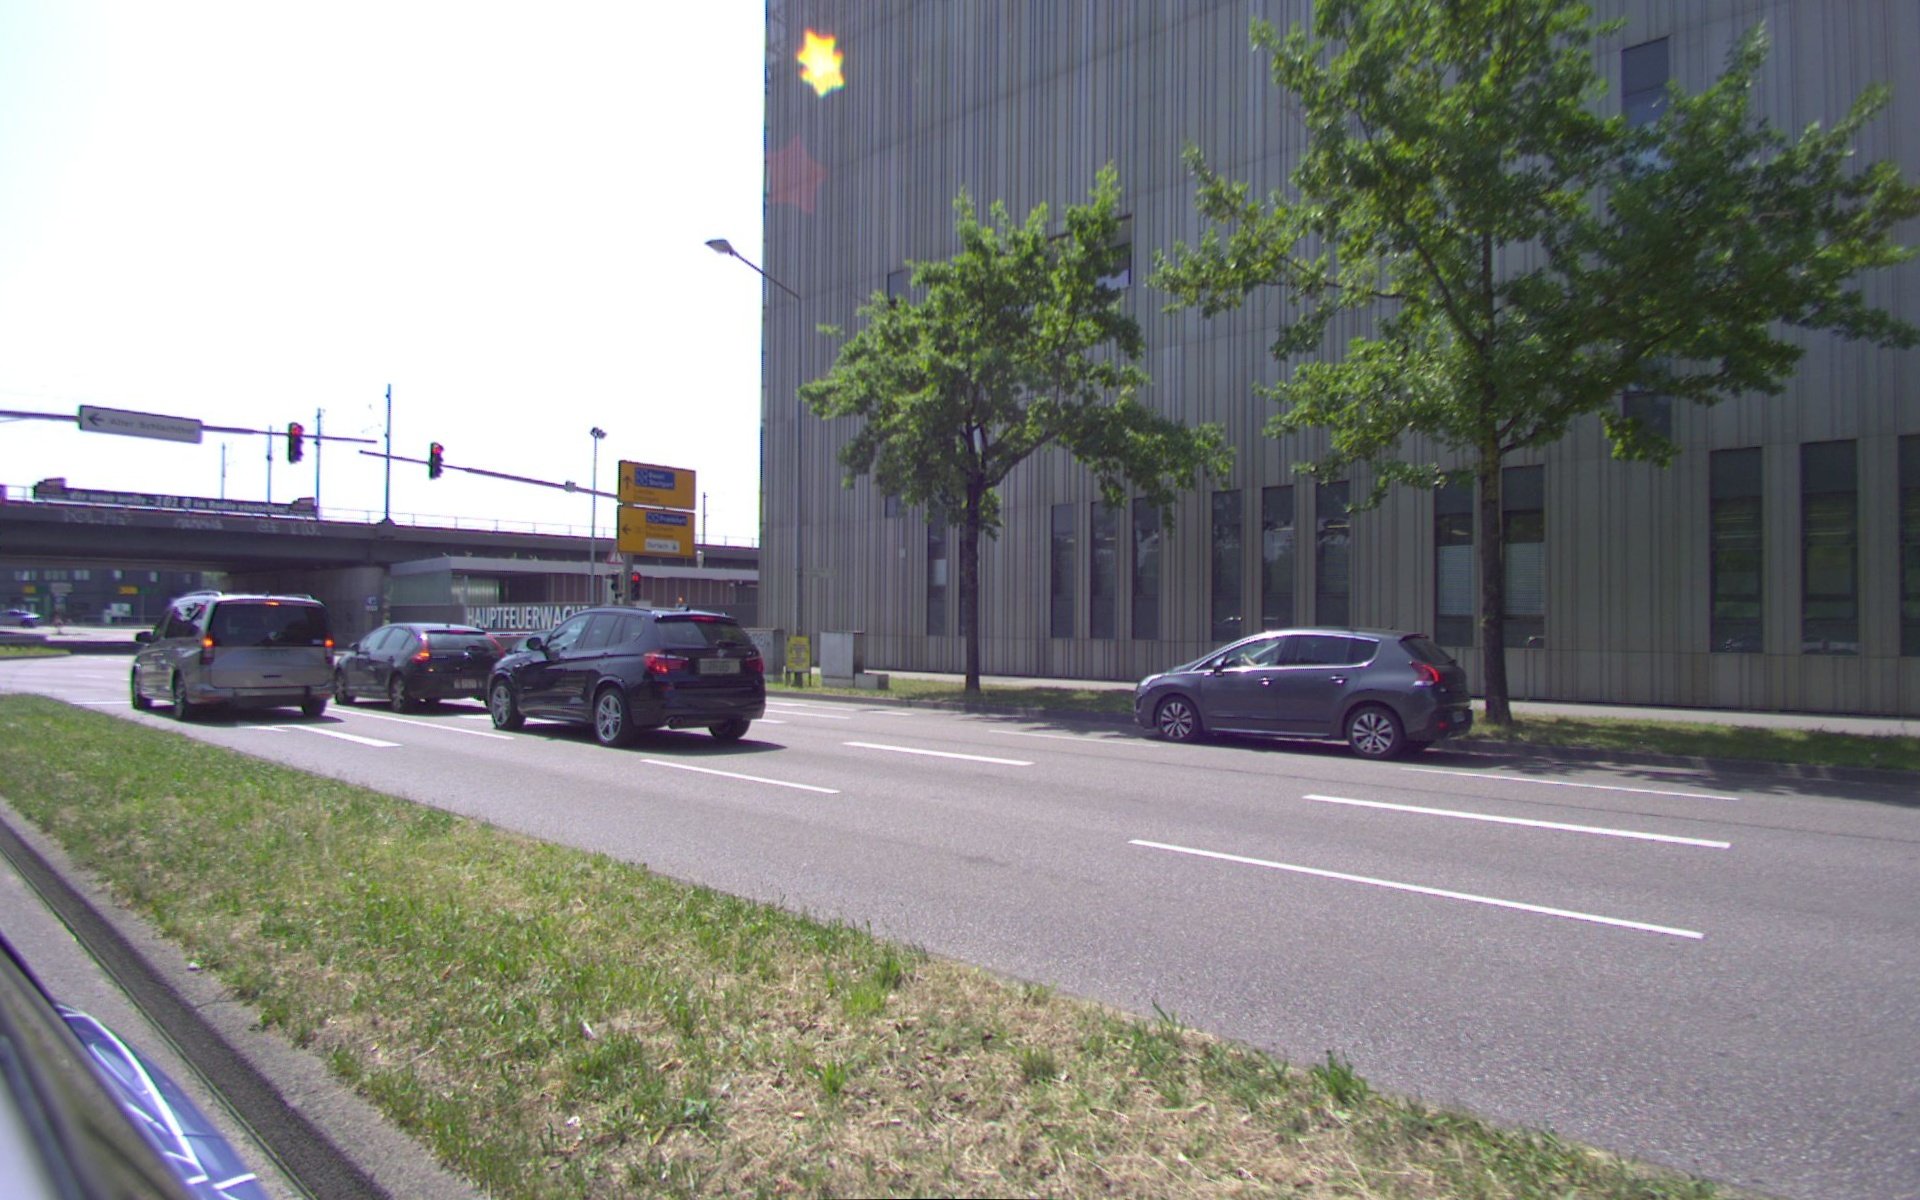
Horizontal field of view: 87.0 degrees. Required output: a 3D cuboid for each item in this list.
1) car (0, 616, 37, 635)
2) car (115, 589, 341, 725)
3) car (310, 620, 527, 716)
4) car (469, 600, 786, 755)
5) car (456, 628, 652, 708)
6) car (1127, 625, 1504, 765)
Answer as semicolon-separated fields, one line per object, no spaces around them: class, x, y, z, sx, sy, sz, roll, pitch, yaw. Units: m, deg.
car;-84.422;2.269;89.421;3.932;1.697;2.006;1;-2;-33
car;-11.452;0.844;15.697;4.711;1.815;1.791;-2;-4;41
car;-9.452;1.102;17.543;4.245;1.457;1.792;-1;-3;39
car;-4.453;0.907;13.173;4.569;1.676;1.784;-1;-3;40
car;-8.191;1.291;20.280;4.245;1.428;1.792;-1;-3;39
car;4.554;1.129;13.375;4.366;1.555;1.792;-1;-3;40
